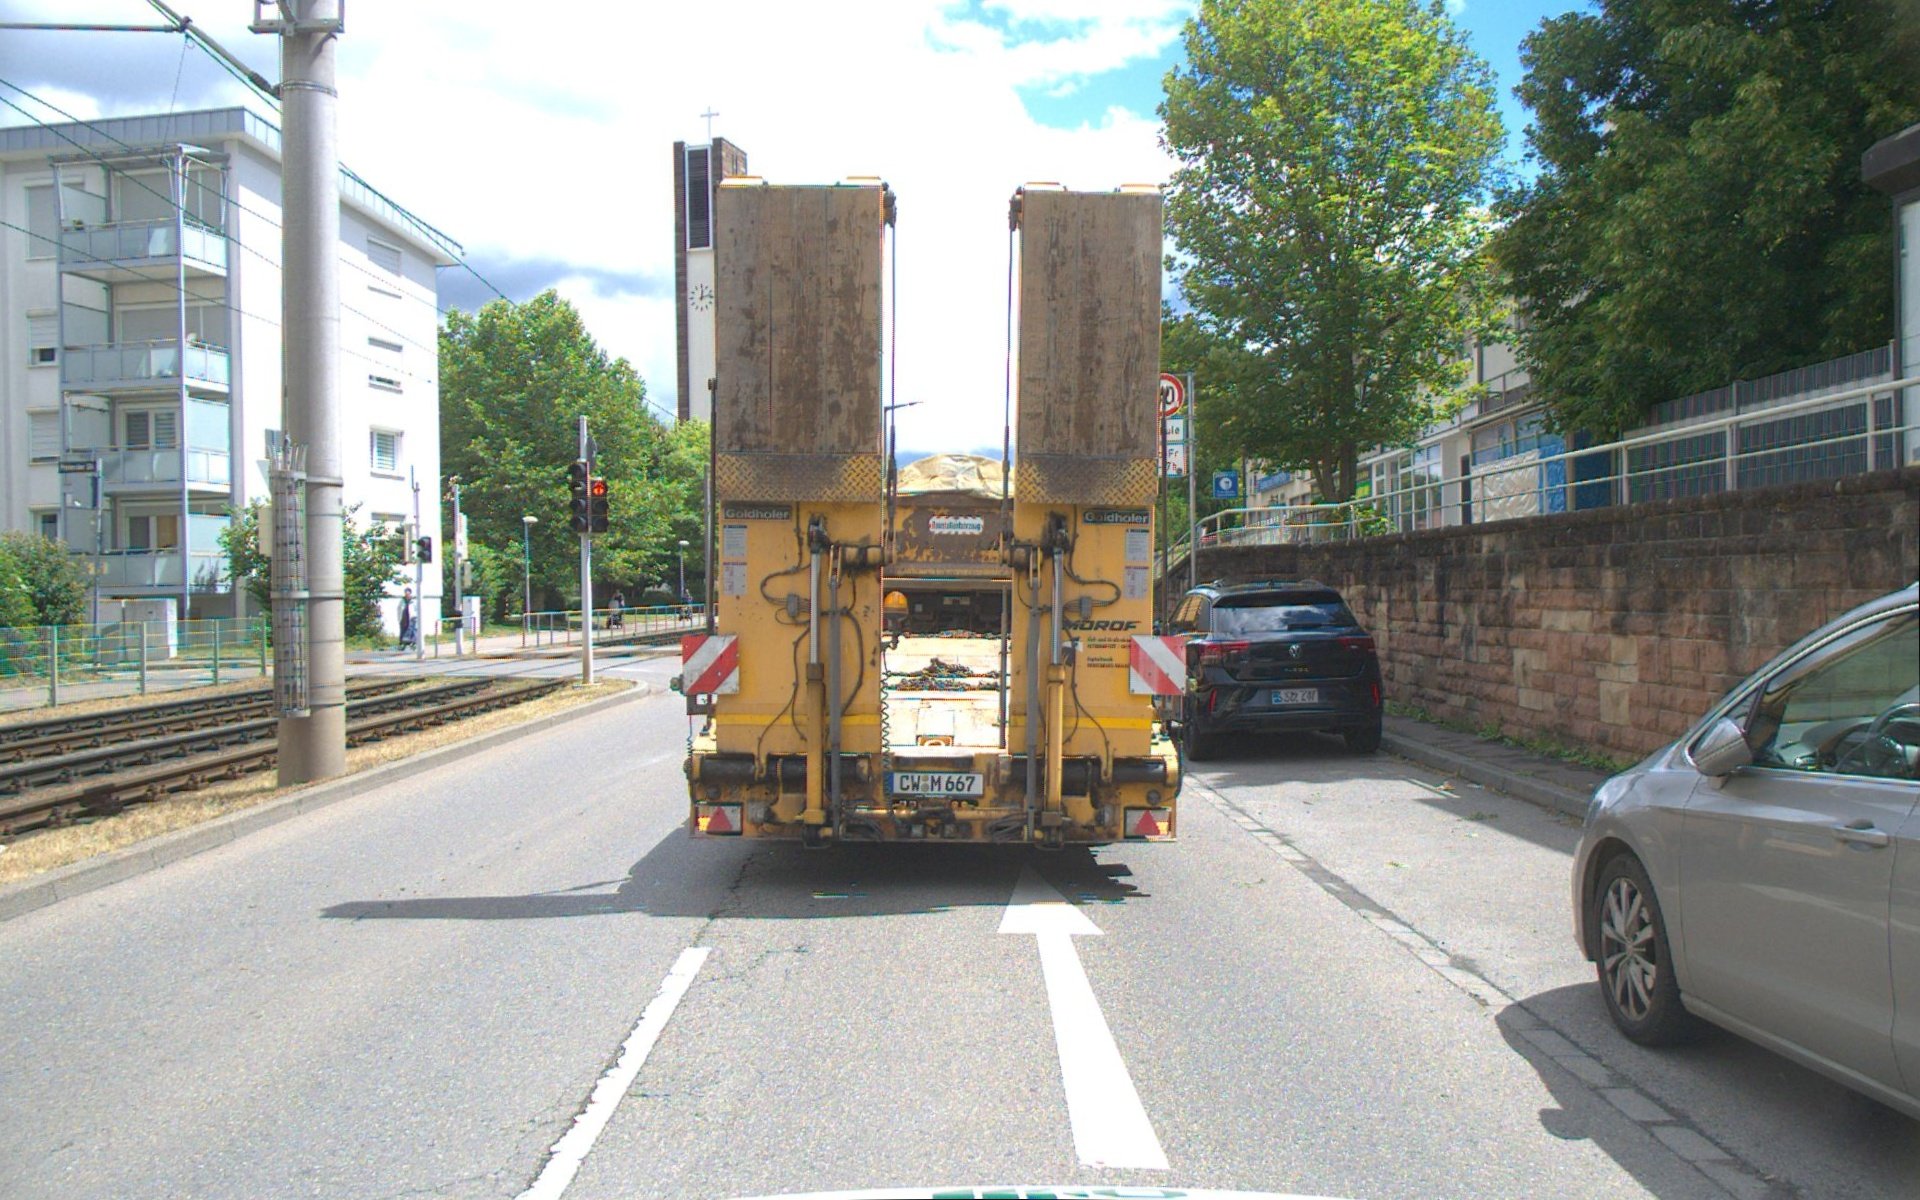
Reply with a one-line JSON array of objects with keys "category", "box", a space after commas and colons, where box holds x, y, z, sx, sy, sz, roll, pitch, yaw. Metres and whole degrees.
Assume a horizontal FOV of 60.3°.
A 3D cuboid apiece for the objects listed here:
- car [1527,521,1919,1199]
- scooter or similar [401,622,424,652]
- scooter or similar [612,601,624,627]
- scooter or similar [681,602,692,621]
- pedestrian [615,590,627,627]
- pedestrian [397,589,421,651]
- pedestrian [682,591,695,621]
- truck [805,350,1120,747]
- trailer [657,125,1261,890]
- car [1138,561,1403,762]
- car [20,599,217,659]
[{"category": "car", "box": [3.141, 0.607, 4.265, 1.754, 1.646, 4.247, -2, 0, -2]}, {"category": "scooter or similar", "box": [-14.295, 0.965, 43.194, 0.428, 0.760, 0.475, -1, 0, 4]}, {"category": "scooter or similar", "box": [-14.236, 0.586, 68.789, 0.331, 1.076, 0.688, -1, 0, 2]}, {"category": "scooter or similar", "box": [-14.138, 0.581, 85.470, 0.495, 0.988, 0.645, 1, 0, -2]}, {"category": "pedestrian", "box": [-14.219, 0.349, 69.448, 0.341, 1.564, 0.557, -1, 0, 3]}, {"category": "pedestrian", "box": [-14.558, 0.523, 43.688, 0.428, 1.608, 0.475, -1, 0, 4]}, {"category": "pedestrian", "box": [-14.123, 0.305, 86.121, 0.552, 1.540, 0.645, 1, 0, -2]}, {"category": "truck", "box": [0.013, -0.493, 17.712, 2.882, 3.635, 4.876, -1, 0, 0]}, {"category": "trailer", "box": [0.006, -0.476, 12.329, 2.885, 3.664, 8.683, -1, 0, 0]}, {"category": "car", "box": [2.888, 0.520, 16.243, 1.813, 1.668, 4.000, -2, 0, 0]}, {"category": "car", "box": [-20.618, 0.699, 40.606, 3.902, 1.369, 1.903, -1, 0, 7]}]
